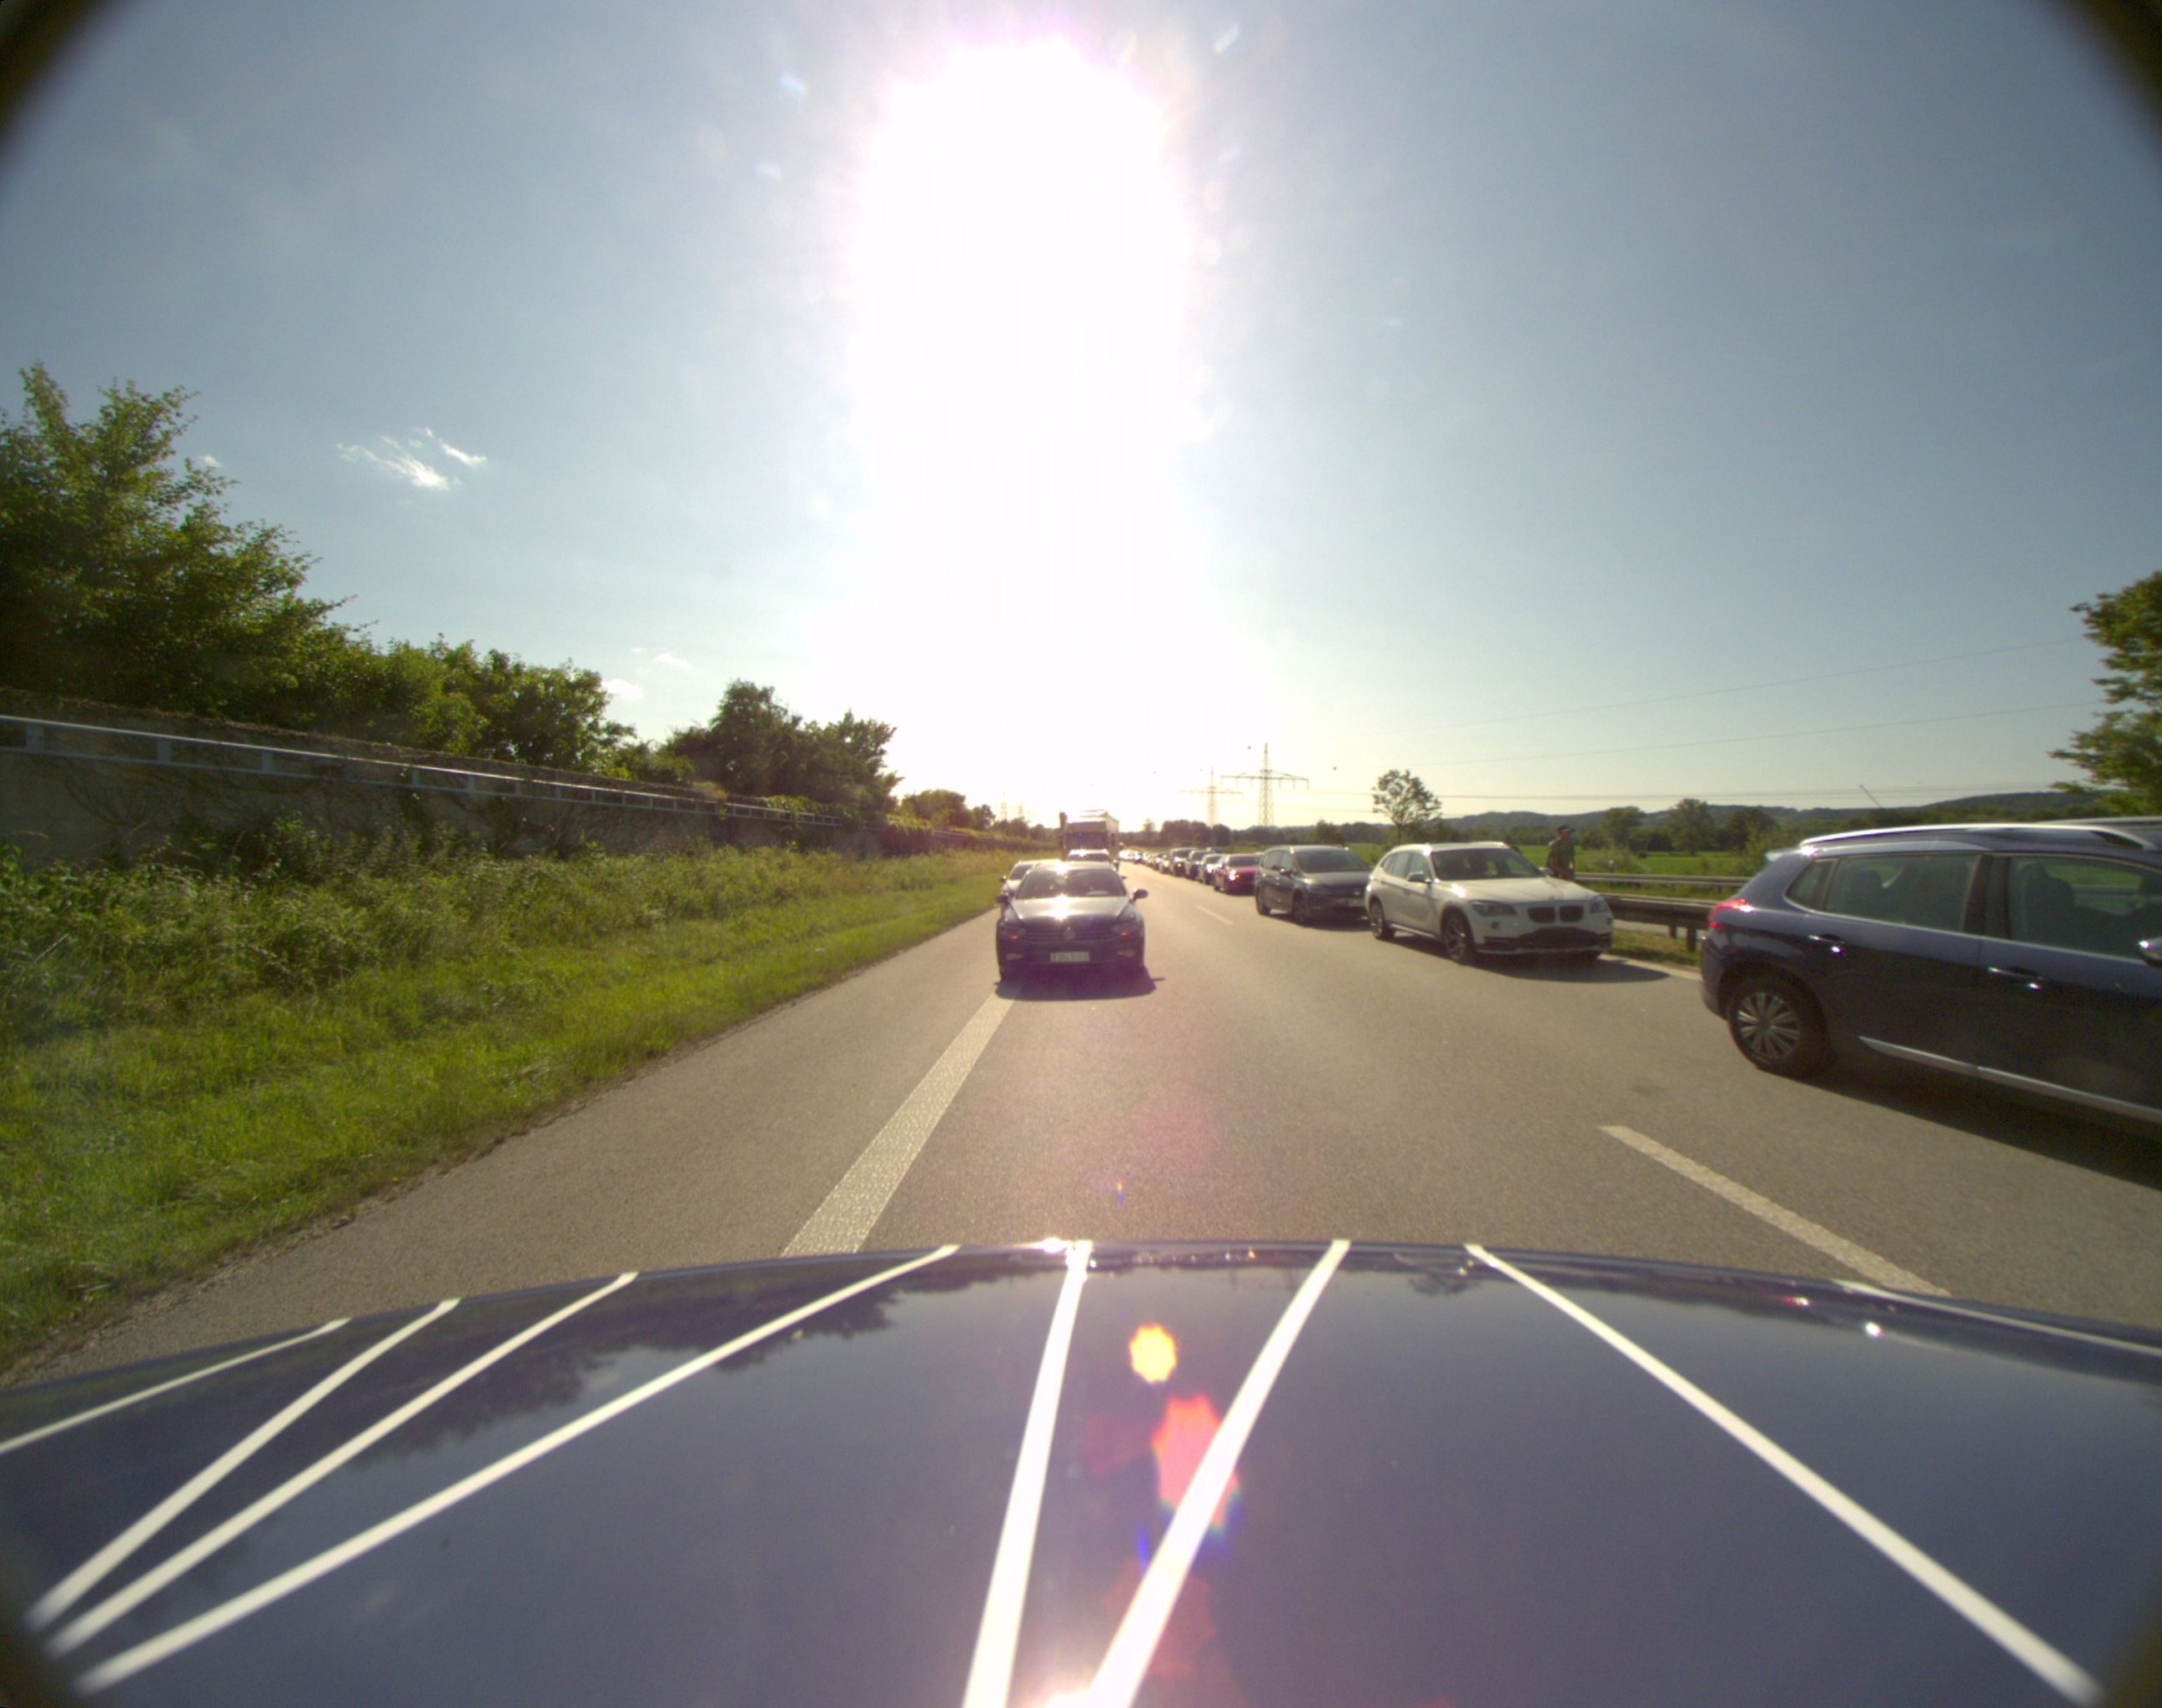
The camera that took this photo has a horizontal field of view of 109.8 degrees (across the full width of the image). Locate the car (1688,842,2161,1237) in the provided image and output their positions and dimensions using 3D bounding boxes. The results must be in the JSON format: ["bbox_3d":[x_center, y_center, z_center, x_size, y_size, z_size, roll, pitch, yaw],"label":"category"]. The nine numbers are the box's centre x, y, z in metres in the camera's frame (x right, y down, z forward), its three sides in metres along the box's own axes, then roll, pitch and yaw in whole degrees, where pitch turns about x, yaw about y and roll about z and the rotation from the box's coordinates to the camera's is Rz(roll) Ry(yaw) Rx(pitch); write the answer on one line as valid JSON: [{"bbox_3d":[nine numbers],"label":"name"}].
[{"bbox_3d":[5.140,0.737,3.327,1.692,1.526,3.948,-3,0,-2],"label":"car"}]

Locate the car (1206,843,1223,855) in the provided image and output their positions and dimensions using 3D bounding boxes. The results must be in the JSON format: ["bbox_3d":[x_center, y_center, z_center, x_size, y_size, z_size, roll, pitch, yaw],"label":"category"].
[{"bbox_3d":[19.397,-0.700,110.391,1.863,1.622,4.393,-2,1,3],"label":"car"}]

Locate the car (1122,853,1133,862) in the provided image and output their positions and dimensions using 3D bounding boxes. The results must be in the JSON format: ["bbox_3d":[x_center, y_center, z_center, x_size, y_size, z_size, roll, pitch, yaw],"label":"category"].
[{"bbox_3d":[8.041,0.567,131.597,1.819,1.450,4.118,-1,0,3],"label":"car"}]

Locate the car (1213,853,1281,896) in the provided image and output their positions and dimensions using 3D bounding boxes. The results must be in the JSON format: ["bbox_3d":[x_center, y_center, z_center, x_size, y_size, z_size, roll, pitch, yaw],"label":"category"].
[{"bbox_3d":[6.081,0.701,28.245,1.819,1.450,4.118,-1,0,3],"label":"car"}]

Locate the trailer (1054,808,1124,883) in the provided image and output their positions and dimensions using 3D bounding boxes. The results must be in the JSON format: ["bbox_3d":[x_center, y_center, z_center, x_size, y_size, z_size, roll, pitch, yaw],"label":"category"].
[{"bbox_3d":[0.848,-0.578,49.436,3.386,4.089,13.956,-2,1,5],"label":"trailer"}]

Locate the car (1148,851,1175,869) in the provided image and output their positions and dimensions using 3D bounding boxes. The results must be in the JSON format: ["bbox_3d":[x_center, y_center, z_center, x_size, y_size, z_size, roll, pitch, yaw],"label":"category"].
[{"bbox_3d":[6.984,0.512,66.365,1.998,1.522,4.000,-1,0,1],"label":"car"}]

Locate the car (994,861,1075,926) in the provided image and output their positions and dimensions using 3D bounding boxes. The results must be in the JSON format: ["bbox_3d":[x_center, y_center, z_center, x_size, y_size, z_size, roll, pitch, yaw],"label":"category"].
[{"bbox_3d":[-1.116,0.945,20.073,1.716,1.417,4.326,-2,0,2],"label":"car"}]

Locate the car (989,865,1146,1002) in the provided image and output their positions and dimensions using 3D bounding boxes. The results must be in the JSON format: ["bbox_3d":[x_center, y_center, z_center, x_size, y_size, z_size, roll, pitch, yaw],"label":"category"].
[{"bbox_3d":[-0.090,0.933,10.719,1.716,1.405,4.326,-2,0,2],"label":"car"}]

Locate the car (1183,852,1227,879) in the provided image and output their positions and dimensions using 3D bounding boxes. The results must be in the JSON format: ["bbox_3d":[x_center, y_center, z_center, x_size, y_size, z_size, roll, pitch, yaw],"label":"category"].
[{"bbox_3d":[6.967,0.609,43.023,1.894,1.446,4.000,-1,0,2],"label":"car"}]

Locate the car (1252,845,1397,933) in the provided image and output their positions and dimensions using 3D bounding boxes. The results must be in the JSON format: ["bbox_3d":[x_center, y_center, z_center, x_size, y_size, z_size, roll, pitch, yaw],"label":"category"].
[{"bbox_3d":[5.081,0.660,16.450,1.819,1.606,4.117,-2,0,1],"label":"car"}]

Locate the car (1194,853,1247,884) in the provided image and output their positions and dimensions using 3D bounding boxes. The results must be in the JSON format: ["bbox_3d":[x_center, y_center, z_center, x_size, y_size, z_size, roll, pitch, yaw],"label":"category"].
[{"bbox_3d":[6.724,0.665,36.937,1.895,1.390,4.000,-1,0,1],"label":"car"}]

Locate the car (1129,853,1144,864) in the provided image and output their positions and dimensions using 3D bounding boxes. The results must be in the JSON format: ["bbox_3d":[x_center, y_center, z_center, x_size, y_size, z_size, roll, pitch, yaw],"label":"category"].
[{"bbox_3d":[7.756,0.567,105.575,1.819,1.450,4.117,-2,0,1],"label":"car"}]

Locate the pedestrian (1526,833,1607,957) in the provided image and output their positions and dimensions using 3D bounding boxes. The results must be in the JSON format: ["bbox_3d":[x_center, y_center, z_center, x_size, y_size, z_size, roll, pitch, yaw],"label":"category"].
[{"bbox_3d":[7.033,0.575,11.042,0.672,1.740,0.814,-1,1,1],"label":"pedestrian"}]

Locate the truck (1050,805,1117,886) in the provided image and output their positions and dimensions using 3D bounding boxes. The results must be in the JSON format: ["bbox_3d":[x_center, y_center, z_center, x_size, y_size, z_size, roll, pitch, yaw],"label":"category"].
[{"bbox_3d":[0.308,-0.488,43.349,3.332,4.089,6.970,-2,1,3],"label":"truck"}]

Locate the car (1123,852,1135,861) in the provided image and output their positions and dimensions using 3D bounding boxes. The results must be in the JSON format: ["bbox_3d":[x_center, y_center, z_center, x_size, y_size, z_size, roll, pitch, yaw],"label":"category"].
[{"bbox_3d":[7.904,0.409,125.951,1.819,1.450,4.118,-2,0,3],"label":"car"}]

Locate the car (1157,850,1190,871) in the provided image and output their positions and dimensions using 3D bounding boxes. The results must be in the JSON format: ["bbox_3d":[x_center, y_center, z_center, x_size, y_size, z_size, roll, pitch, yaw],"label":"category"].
[{"bbox_3d":[6.904,0.460,57.070,1.998,1.522,4.000,-1,0,1],"label":"car"}]

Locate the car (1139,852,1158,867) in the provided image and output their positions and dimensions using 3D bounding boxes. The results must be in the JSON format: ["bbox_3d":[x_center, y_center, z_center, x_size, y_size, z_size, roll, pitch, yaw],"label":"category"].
[{"bbox_3d":[7.072,0.569,79.869,1.819,1.450,4.118,-2,0,3],"label":"car"}]

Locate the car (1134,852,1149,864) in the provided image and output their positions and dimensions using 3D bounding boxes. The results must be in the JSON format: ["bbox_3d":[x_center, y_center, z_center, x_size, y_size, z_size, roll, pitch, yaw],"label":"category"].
[{"bbox_3d":[7.738,0.526,97.146,1.819,1.450,4.118,-1,0,2],"label":"car"}]

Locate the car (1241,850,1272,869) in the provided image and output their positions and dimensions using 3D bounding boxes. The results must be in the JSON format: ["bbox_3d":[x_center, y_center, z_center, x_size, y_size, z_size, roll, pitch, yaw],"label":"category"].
[{"bbox_3d":[13.654,0.434,59.296,1.713,1.418,3.787,-1,0,2],"label":"car"}]

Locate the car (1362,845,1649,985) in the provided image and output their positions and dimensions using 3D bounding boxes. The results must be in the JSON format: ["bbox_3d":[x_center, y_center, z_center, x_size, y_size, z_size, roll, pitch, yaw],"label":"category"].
[{"bbox_3d":[5.620,0.694,10.765,1.832,1.564,4.164,-1,0,2],"label":"car"}]

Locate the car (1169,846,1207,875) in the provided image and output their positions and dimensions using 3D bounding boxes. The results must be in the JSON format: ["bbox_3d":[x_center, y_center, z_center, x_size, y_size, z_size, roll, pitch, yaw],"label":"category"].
[{"bbox_3d":[6.962,0.421,49.894,1.902,1.777,4.200,-1,0,1],"label":"car"}]

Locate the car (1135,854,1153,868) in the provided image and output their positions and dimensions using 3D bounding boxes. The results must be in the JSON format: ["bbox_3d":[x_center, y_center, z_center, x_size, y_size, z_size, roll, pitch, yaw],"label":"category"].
[{"bbox_3d":[7.148,0.767,86.463,1.819,1.450,4.117,-1,0,1],"label":"car"}]

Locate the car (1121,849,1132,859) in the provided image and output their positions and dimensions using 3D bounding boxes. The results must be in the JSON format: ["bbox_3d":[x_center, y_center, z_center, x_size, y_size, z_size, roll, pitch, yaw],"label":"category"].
[{"bbox_3d":[8.473,0.069,140.925,1.813,1.783,3.773,-1,0,1],"label":"car"}]

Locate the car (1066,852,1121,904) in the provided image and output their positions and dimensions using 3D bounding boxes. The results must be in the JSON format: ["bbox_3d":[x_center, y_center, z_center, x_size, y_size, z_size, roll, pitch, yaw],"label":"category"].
[{"bbox_3d":[0.460,0.766,26.501,1.716,1.614,4.326,-2,0,2],"label":"car"}]
